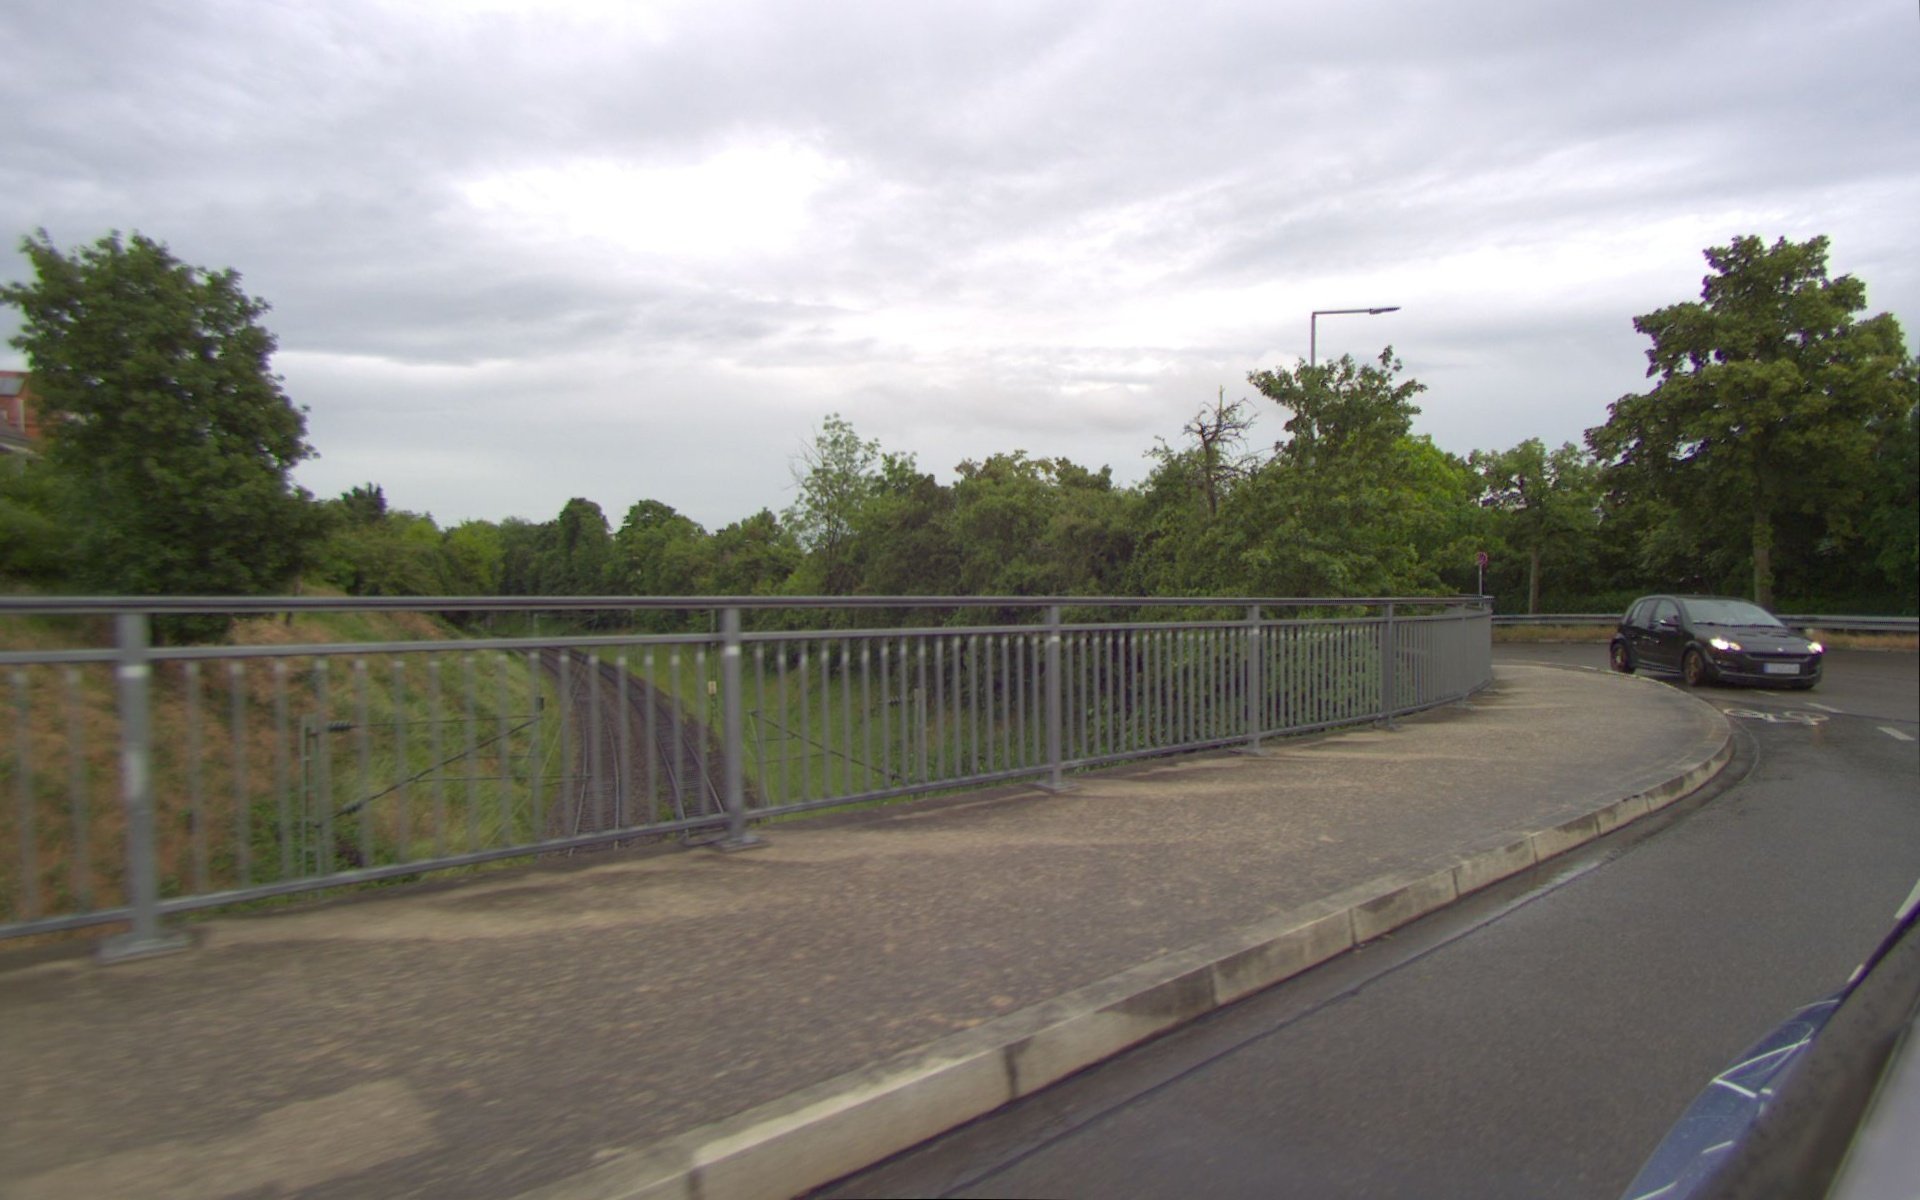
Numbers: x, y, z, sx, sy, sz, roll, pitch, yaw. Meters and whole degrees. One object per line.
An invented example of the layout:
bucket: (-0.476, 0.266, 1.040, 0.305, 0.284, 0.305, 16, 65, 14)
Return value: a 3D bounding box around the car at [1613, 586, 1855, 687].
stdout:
car: (12.508, 0.510, 16.655, 1.655, 1.430, 3.627, 0, 1, 10)
